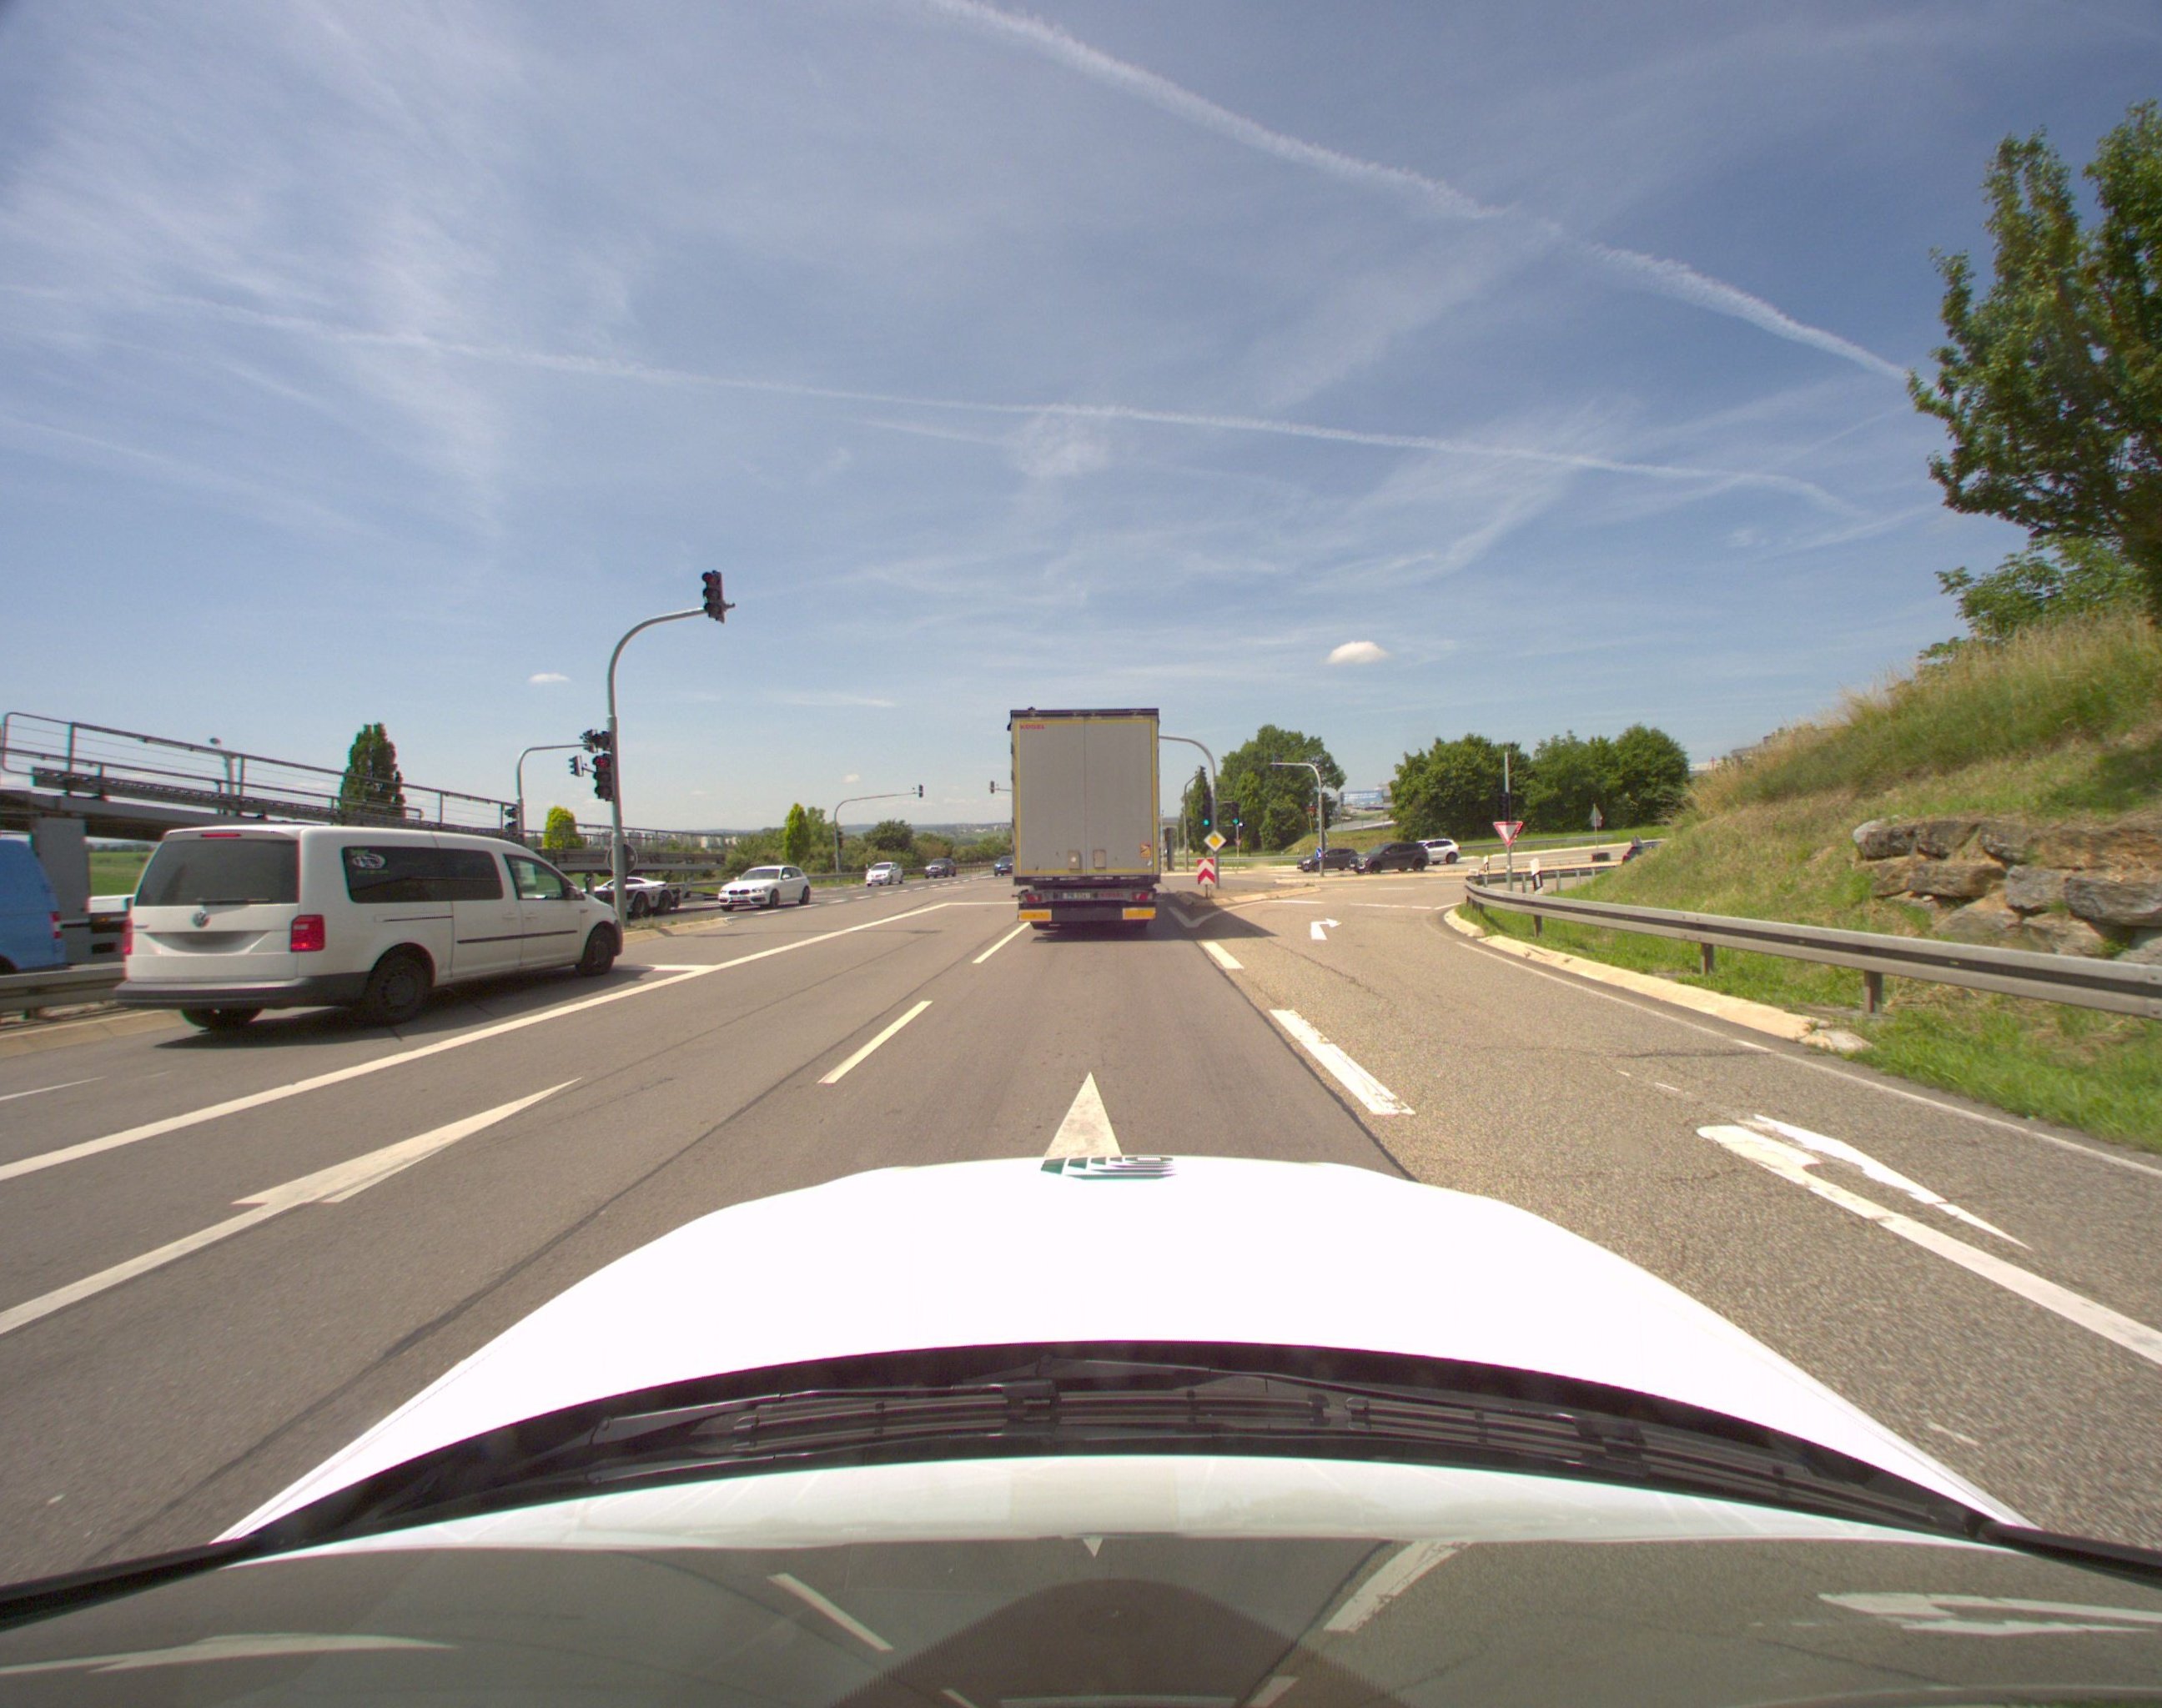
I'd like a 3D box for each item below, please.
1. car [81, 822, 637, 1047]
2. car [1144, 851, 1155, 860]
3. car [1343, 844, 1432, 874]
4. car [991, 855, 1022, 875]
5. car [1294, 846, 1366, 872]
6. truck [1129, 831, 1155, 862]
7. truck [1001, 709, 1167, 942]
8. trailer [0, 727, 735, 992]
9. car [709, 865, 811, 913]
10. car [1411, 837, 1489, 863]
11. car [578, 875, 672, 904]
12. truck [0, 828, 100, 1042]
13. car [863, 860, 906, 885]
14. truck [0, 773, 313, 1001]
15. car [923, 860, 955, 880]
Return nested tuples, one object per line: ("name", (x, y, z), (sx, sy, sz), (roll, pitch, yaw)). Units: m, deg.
("car", (-7.117, 0.649, 8.935), (1.761, 1.798, 4.753), (0, 0, 2))
("car", (12.573, 0.329, 149.454), (1.777, 1.688, 4.007), (-1, -1, 6))
("car", (17.069, 0.284, 45.405), (4.358, 1.510, 1.710), (-1, -1, -10))
("car", (-5.776, 0.805, 63.343), (1.747, 1.469, 4.200), (-2, 0, 3))
("car", (15.712, 0.325, 51.467), (3.983, 1.510, 1.712), (-1, -1, -7))
("truck", (7.786, -0.882, 103.093), (2.641, 3.764, 10.184), (-1, -1, 8))
("truck", (0.044, -0.478, 19.472), (2.790, 3.929, 11.339), (-1, 0, 0))
("trailer", (-15.160, 0.197, 21.591), (2.628, 3.763, 19.810), (-2, -1, 2))
("car", (-10.891, 1.147, 27.965), (1.765, 1.434, 4.002), (-2, -1, 2))
("car", (24.239, -0.265, 53.554), (4.354, 1.592, 1.775), (-1, -1, -7))
("car", (-25.218, 1.929, 45.167), (4.506, 1.460, 1.618), (0, -1, -29))
("truck", (-11.958, 0.830, 6.731), (1.959, 2.157, 4.626), (-2, -1, 2))
("car", (-12.900, 1.184, 53.752), (1.637, 1.496, 3.805), (-3, -1, 4))
("truck", (-15.580, 0.482, 11.927), (2.788, 3.013, 5.993), (-2, -1, 2))
("car", (-12.019, 1.341, 69.040), (1.637, 1.623, 4.330), (-3, -1, 3))
